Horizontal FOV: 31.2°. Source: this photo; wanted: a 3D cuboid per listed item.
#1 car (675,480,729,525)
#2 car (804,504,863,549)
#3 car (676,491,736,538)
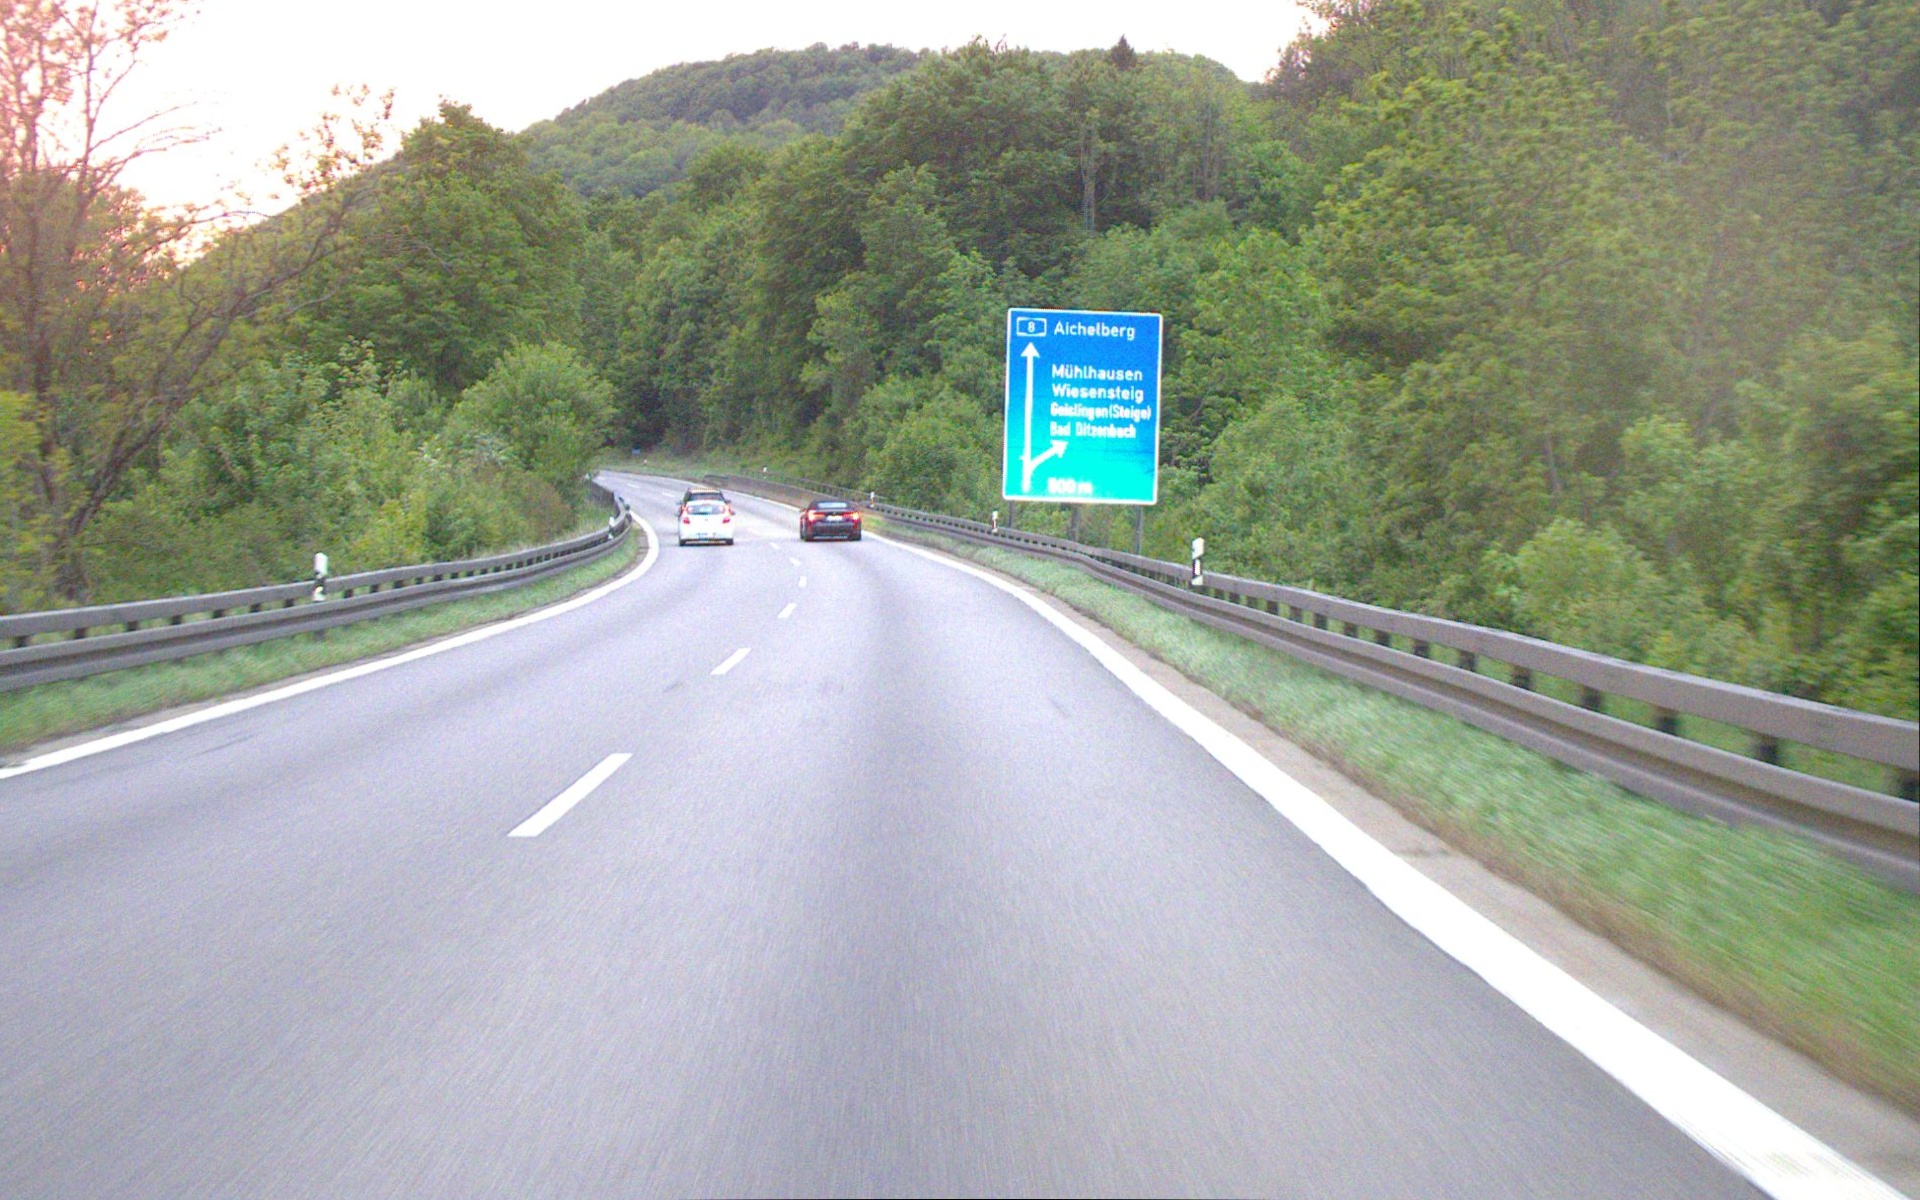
[{"bbox_3d":[-9.385,-3.538,125.254,1.718,1.629,4.000,0,1,-1],"label":"car"},{"bbox_3d":[-4.246,-2.476,115.839,1.878,1.461,4.000,0,1,-1],"label":"car"},{"bbox_3d":[-8.302,-2.793,112.624,1.718,1.496,4.000,0,1,-1],"label":"car"}]
